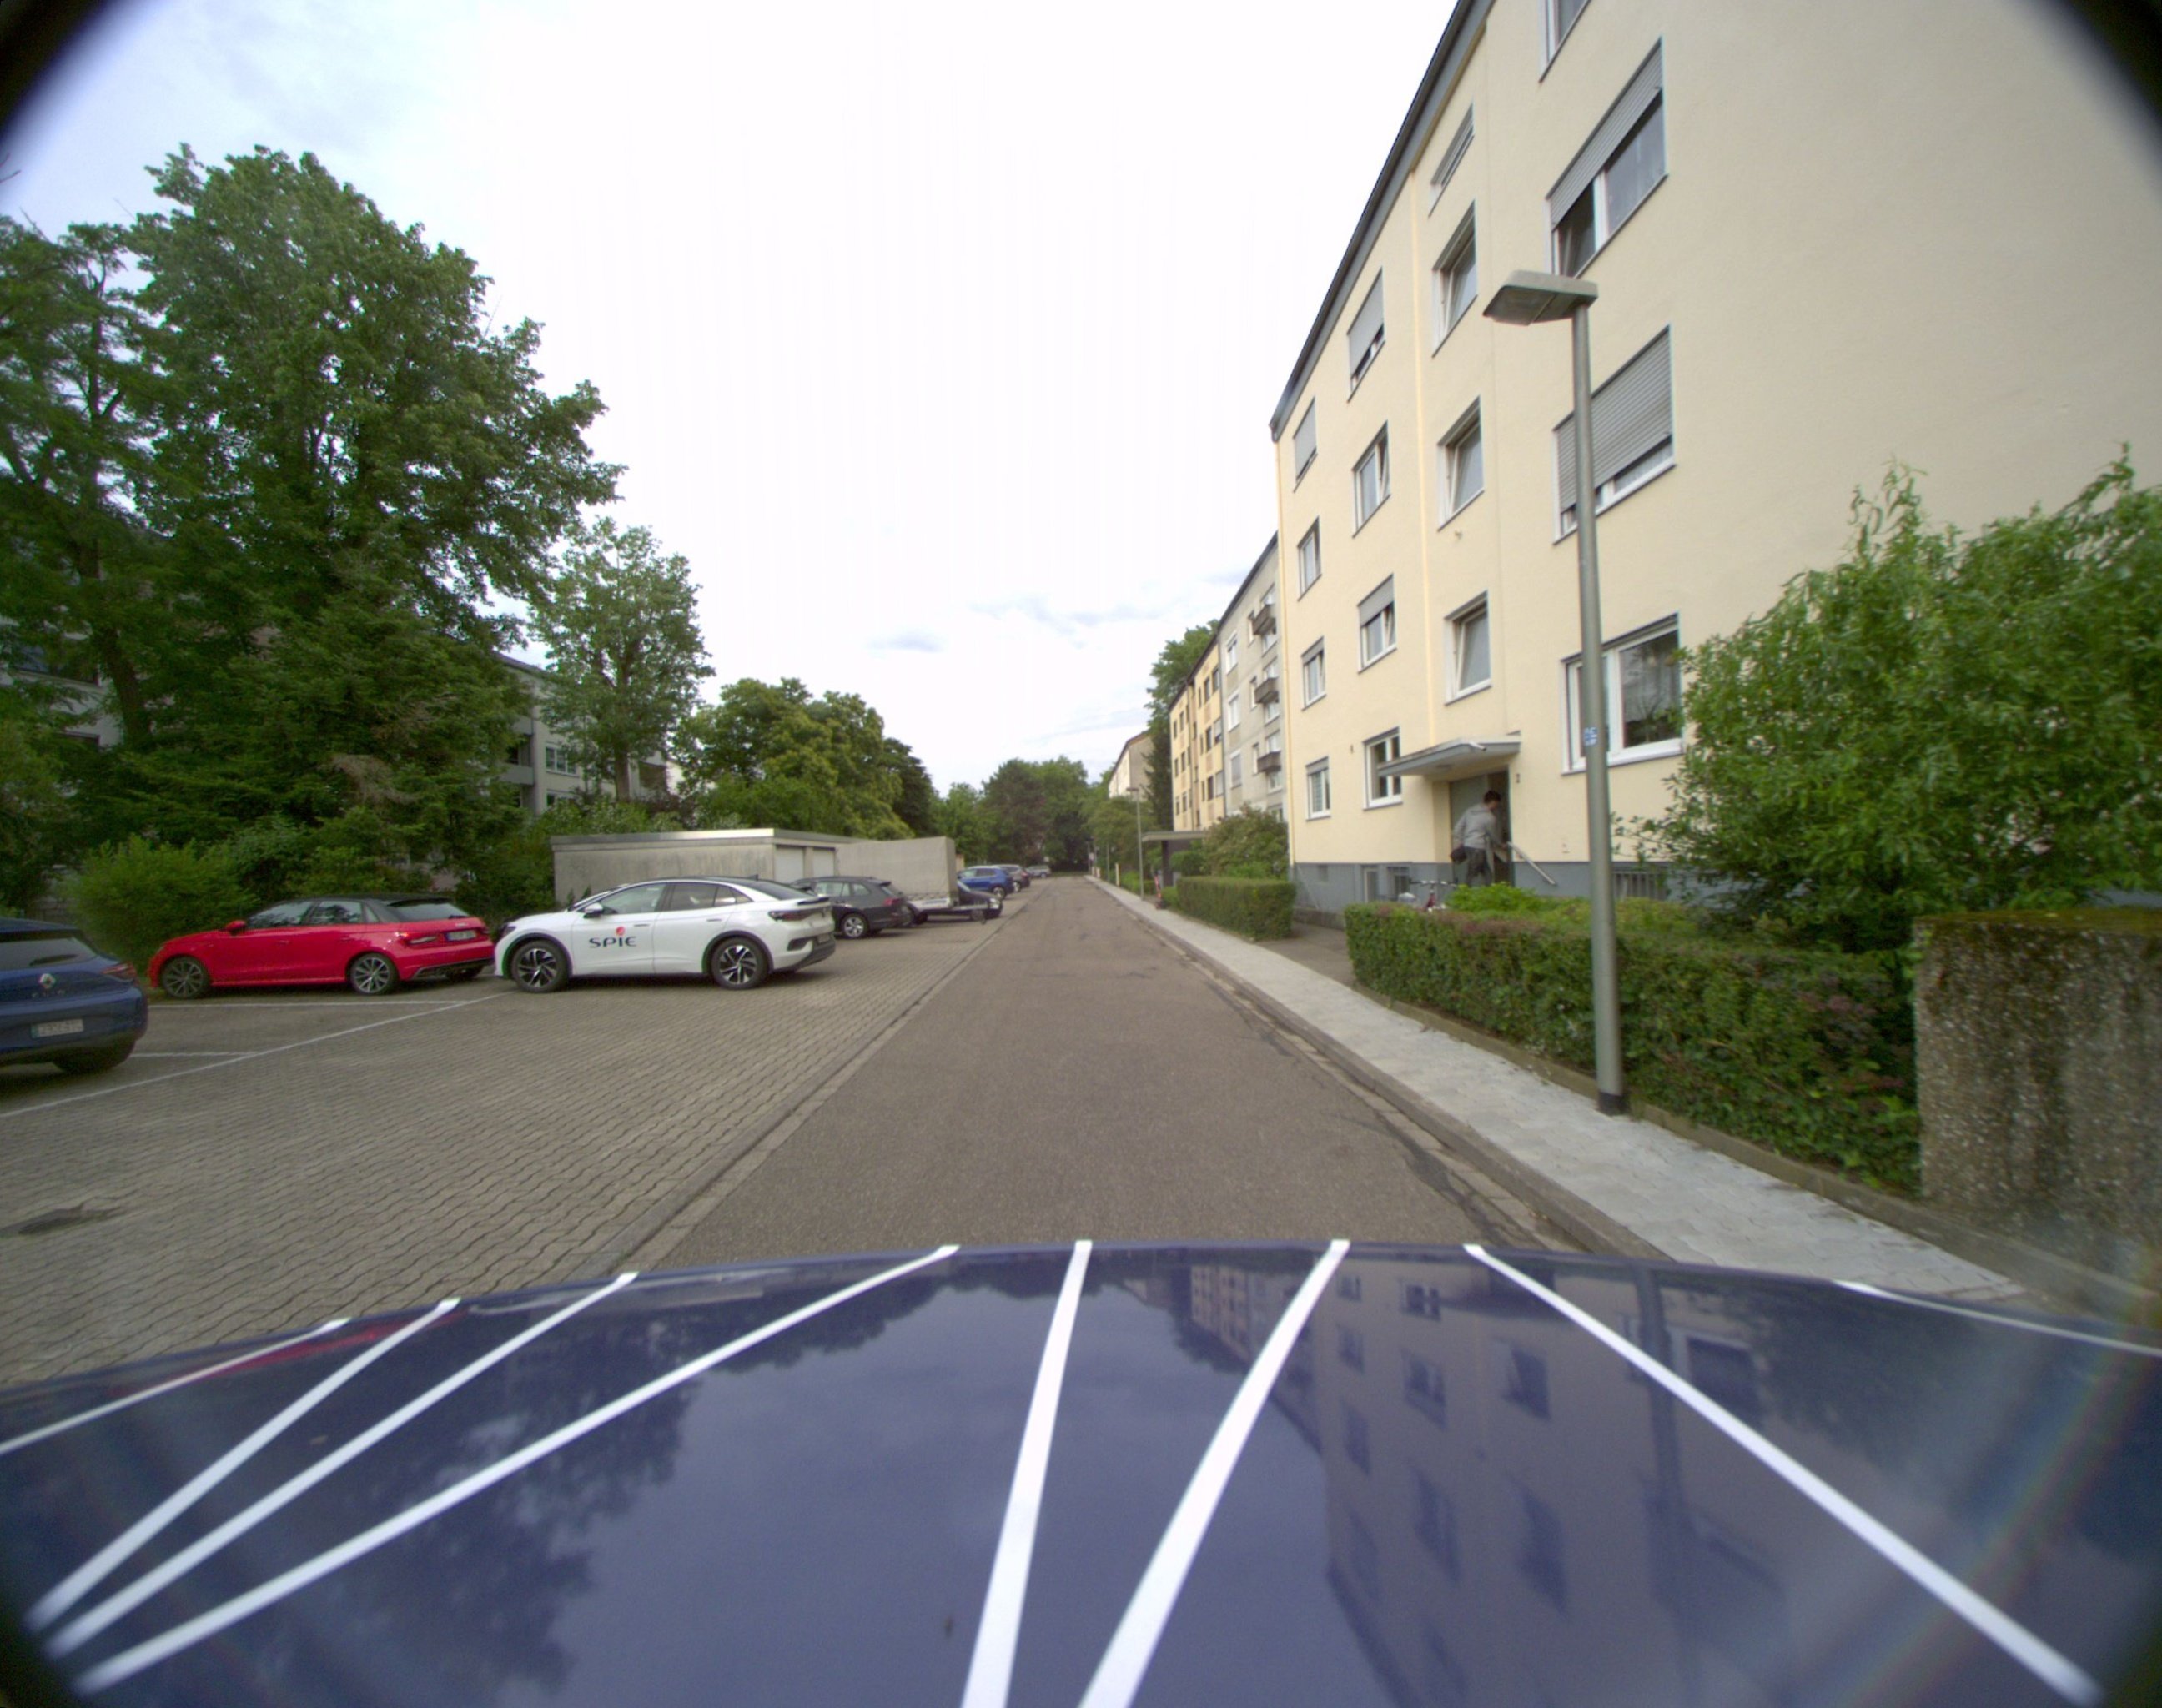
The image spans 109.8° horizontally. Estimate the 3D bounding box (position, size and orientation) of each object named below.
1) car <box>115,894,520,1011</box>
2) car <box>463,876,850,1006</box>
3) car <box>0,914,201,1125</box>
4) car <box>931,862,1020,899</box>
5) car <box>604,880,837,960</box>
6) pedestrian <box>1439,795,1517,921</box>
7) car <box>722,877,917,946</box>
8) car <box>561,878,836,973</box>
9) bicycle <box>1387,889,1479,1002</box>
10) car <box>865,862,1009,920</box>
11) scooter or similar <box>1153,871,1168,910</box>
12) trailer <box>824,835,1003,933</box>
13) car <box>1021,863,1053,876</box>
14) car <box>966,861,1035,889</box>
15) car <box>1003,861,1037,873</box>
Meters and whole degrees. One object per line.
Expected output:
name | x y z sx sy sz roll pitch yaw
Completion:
car | -11.006 1.381 11.223 3.908 1.372 1.971 -2 -1 -1
car | -6.010 1.202 11.203 4.548 1.579 1.988 -2 0 1
car | -10.123 1.357 5.999 3.908 1.501 2.027 -2 0 -1
car | -5.029 1.246 36.625 3.997 1.693 2.000 0 0 -1
car | -7.516 1.351 16.140 4.005 1.440 1.915 -2 0 2
pedestrian | 5.752 0.053 11.045 0.680 1.739 0.756 -3 0 2
car | -6.234 1.365 18.457 4.138 1.440 1.612 -2 0 -1
car | -6.771 1.237 13.855 3.998 1.543 2.000 0 -1 -3
bicycle | 3.874 0.970 8.456 0.319 1.069 1.418 -3 0 0
car | -4.570 1.165 24.723 4.322 1.791 2.000 0 0 -1
scooter or similar | 2.529 1.153 24.152 0.273 1.203 1.164 -2 -1 -2
trailer | -4.700 0.828 21.832 4.621 2.510 1.942 -2 0 0
car | -5.687 2.008 99.347 4.104 1.636 1.787 -1 0 -2
car | -5.035 1.304 48.148 4.206 1.717 2.000 0 0 -1
car | -7.596 1.599 94.473 4.104 1.476 1.787 -1 0 -2
